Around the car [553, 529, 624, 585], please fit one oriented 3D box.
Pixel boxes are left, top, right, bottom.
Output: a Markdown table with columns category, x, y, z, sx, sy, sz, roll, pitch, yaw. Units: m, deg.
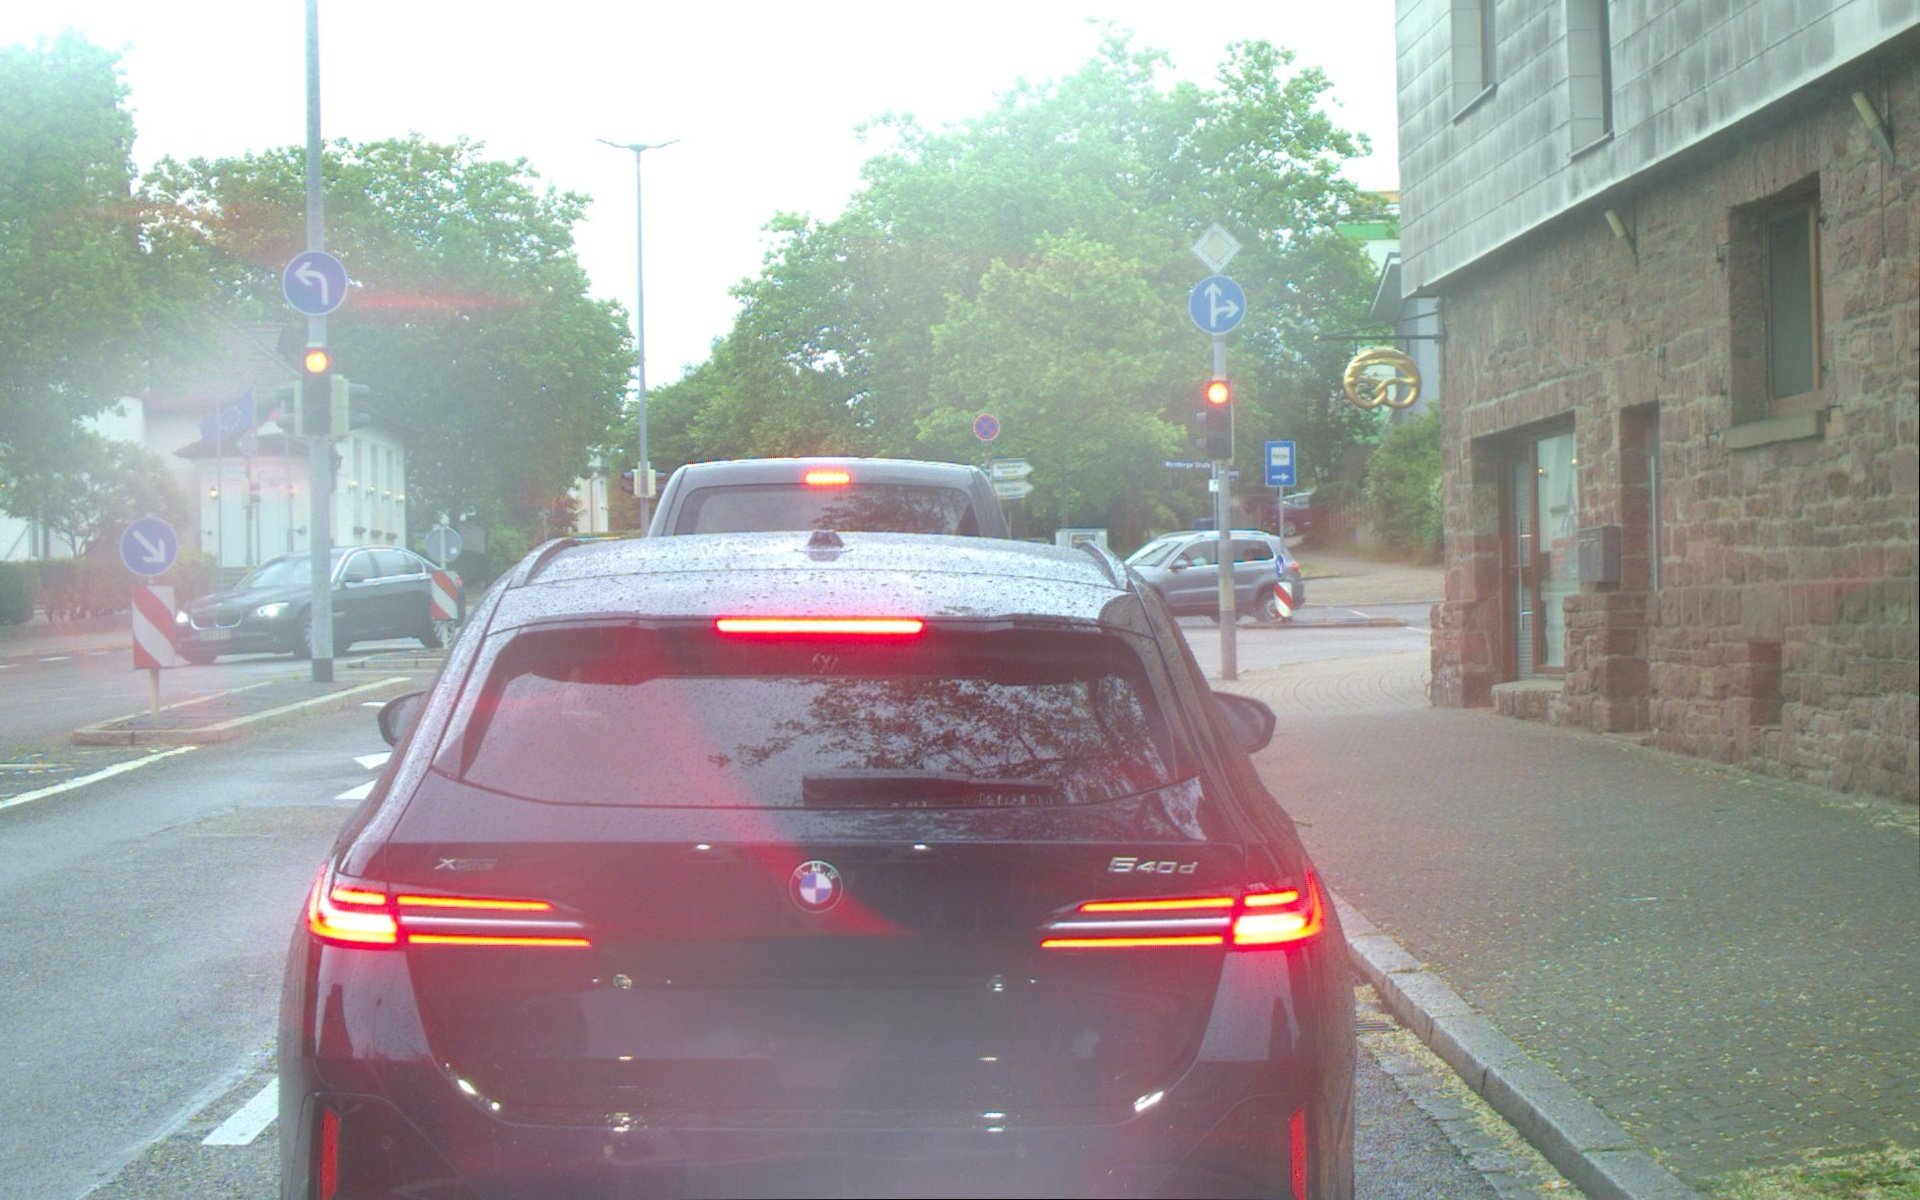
| category | x | y | z | sx | sy | sz | roll | pitch | yaw |
| --- | --- | --- | --- | --- | --- | --- | --- | --- | --- |
| car | -9.482 | -1.120 | 87.881 | 1.464 | 1.393 | 3.322 | 0 | 1 | -1 |

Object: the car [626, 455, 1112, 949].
| category | x | y | z | sx | sy | sz | roll | pitch | yaw |
| --- | --- | --- | --- | --- | --- | --- | --- | --- | --- |
| car | -0.428 | 0.329 | 14.677 | 1.783 | 1.811 | 4.001 | 0 | 1 | -3 |

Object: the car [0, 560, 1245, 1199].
| category | x | y | z | sx | sy | sz | roll | pitch | yaw |
| --- | --- | --- | --- | --- | --- | --- | --- | --- | --- |
| car | -0.724 | 0.651 | 7.432 | 2.064 | 1.441 | 4.484 | 0 | 1 | -3 |

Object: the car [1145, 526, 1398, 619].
| category | x | y | z | sx | sy | sz | roll | pitch | yaw |
| --- | --- | --- | --- | --- | --- | --- | --- | --- | --- |
| car | 5.417 | -0.497 | 59.809 | 3.986 | 1.546 | 1.825 | -1 | 1 | -24 |

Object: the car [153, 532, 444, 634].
| category | x | y | z | sx | sy | sz | roll | pitch | yaw |
| --- | --- | --- | --- | --- | --- | --- | --- | --- | --- |
| car | -8.831 | -0.262 | 46.209 | 1.845 | 1.284 | 3.995 | 0 | 1 | 25 |
